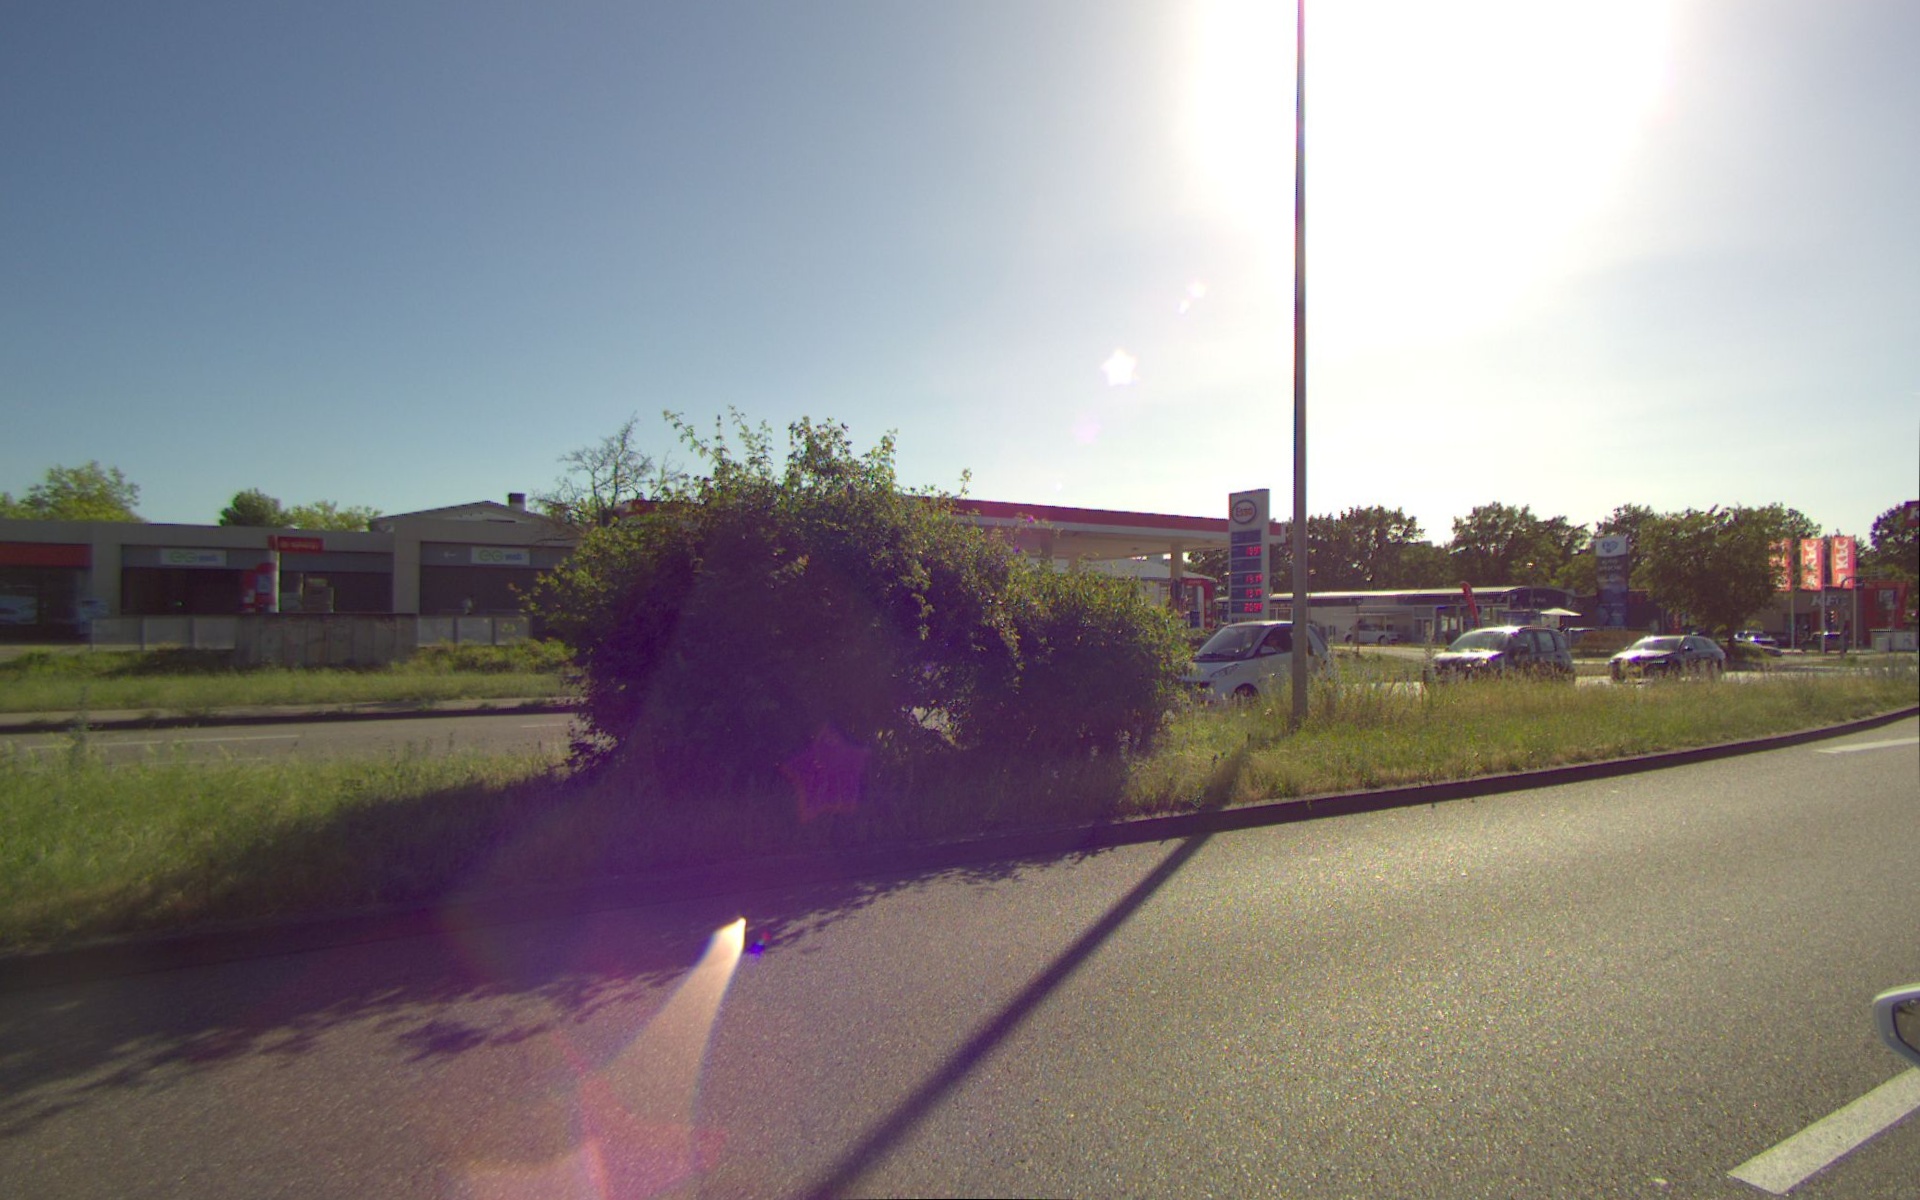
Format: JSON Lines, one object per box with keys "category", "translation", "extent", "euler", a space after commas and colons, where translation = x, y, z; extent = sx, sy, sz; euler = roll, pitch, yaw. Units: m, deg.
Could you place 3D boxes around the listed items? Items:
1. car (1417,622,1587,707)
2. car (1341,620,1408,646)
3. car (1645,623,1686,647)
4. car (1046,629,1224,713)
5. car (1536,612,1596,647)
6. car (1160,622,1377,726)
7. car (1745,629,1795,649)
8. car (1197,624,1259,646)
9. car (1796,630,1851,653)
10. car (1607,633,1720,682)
{"category": "car", "translation": [11.501, 1.312, 21.285], "extent": [3.628, 1.644, 1.528], "euler": [1, -1, -30]}
{"category": "car", "translation": [31.151, 2.449, 75.638], "extent": [1.978, 1.867, 4.361], "euler": [1, -1, -32]}
{"category": "car", "translation": [61.820, 3.051, 88.114], "extent": [1.743, 2.040, 3.796], "euler": [0, -1, 15]}
{"category": "car", "translation": [3.557, 1.384, 20.276], "extent": [3.390, 1.556, 1.504], "euler": [1, -2, -30]}
{"category": "car", "translation": [39.984, 1.945, 66.272], "extent": [3.954, 2.239, 1.809], "euler": [1, -1, -31]}
{"category": "car", "translation": [5.086, 1.151, 16.482], "extent": [3.445, 1.528, 1.486], "euler": [1, -1, -30]}
{"category": "car", "translation": [74.619, 3.577, 92.639], "extent": [1.888, 1.806, 4.090], "euler": [0, -1, 11]}
{"category": "car", "translation": [19.045, 2.480, 71.461], "extent": [4.242, 1.570, 1.802], "euler": [1, -1, -29]}
{"category": "car", "translation": [70.909, 3.368, 82.524], "extent": [1.888, 1.806, 4.089], "euler": [0, -1, 16]}
{"category": "car", "translation": [22.089, 1.772, 31.503], "extent": [3.628, 1.471, 1.528], "euler": [1, -2, -30]}
